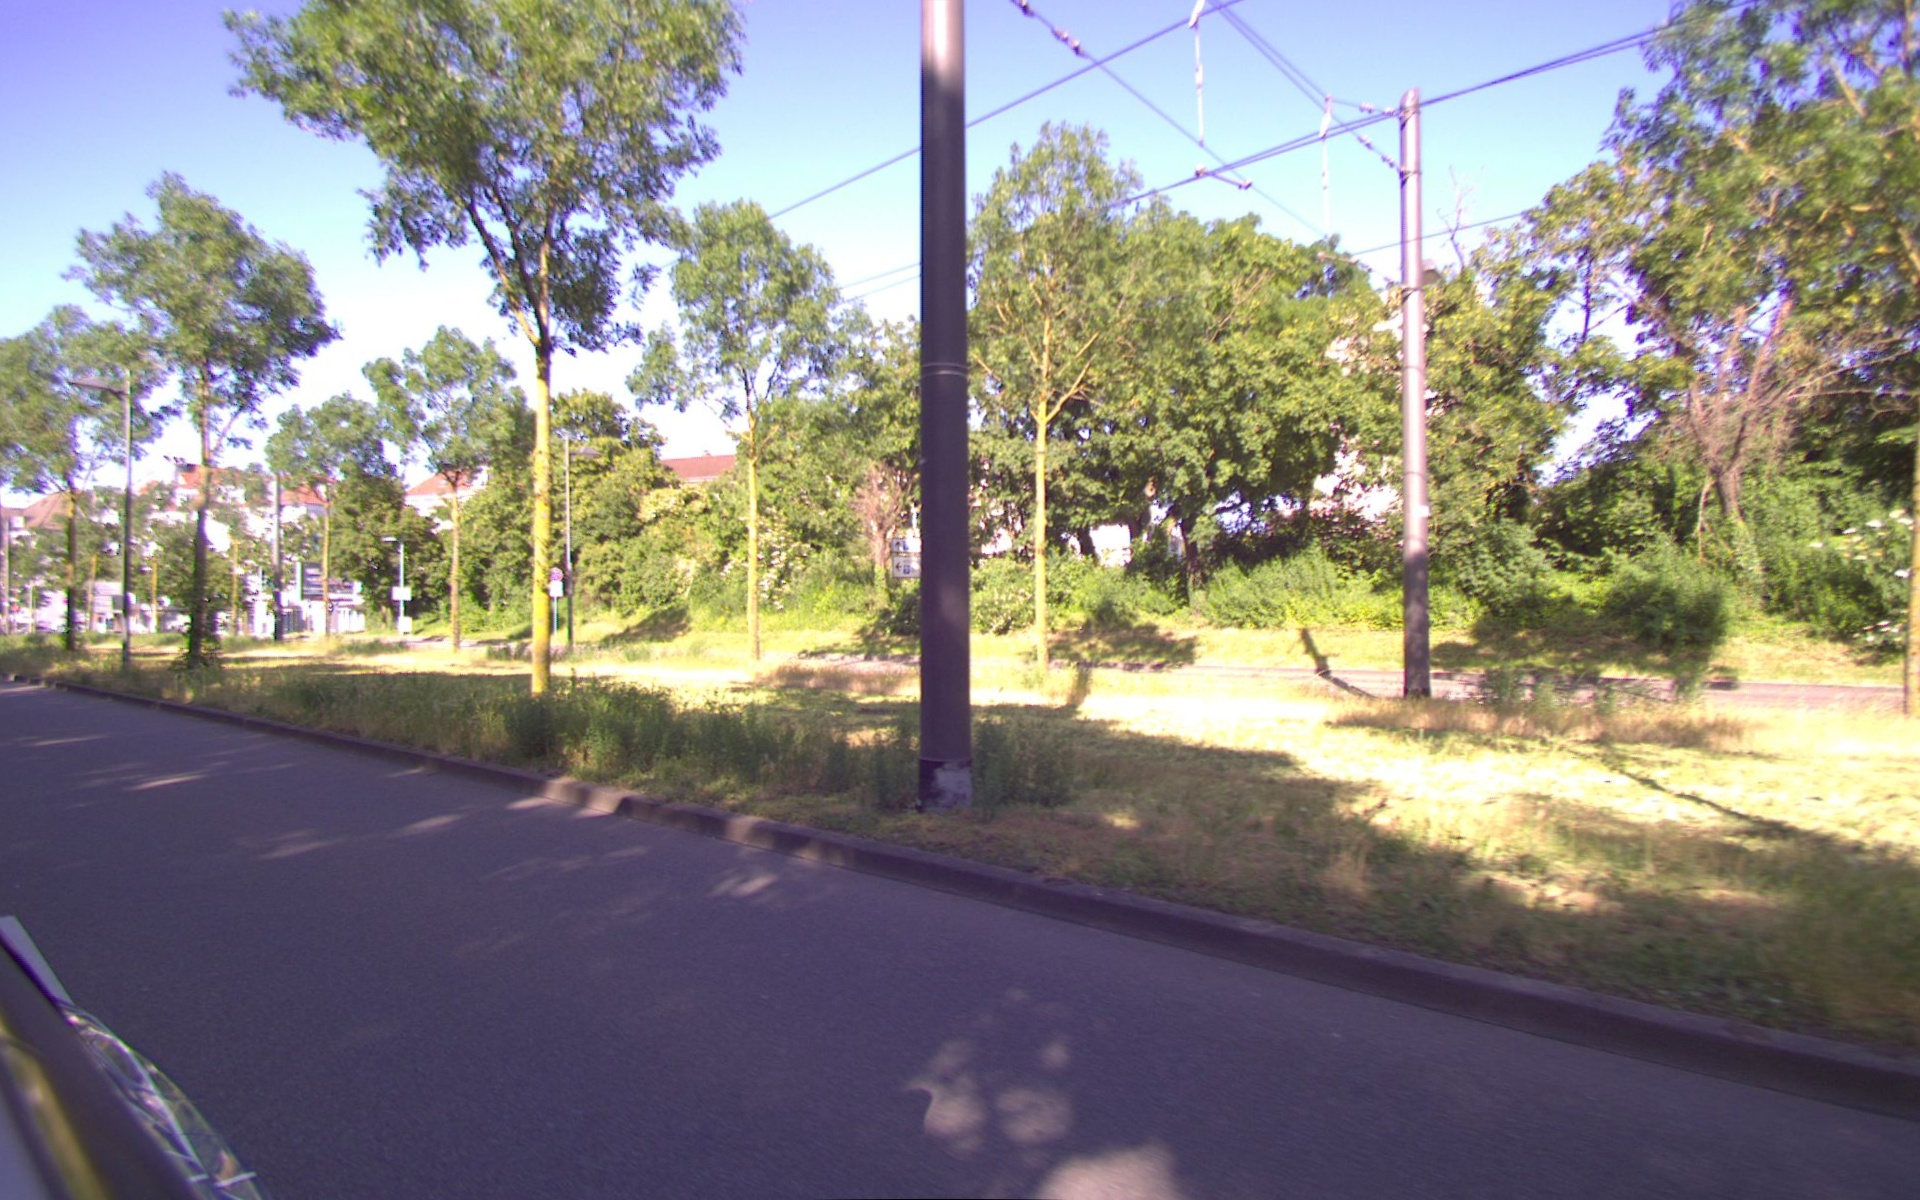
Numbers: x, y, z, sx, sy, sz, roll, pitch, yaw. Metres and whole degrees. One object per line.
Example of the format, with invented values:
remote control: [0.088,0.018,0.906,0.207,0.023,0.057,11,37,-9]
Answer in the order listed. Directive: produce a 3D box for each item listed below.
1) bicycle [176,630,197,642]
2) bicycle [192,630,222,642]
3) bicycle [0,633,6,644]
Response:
bicycle: [-81.512,3.780,106.687,2.538,1.222,0.713,-2,-2,26]
bicycle: [-79.456,3.775,106.855,0.715,1.222,2.530,-2,-2,25]
bicycle: [-102.389,4.073,106.641,0.779,1.168,2.559,-2,-2,24]
